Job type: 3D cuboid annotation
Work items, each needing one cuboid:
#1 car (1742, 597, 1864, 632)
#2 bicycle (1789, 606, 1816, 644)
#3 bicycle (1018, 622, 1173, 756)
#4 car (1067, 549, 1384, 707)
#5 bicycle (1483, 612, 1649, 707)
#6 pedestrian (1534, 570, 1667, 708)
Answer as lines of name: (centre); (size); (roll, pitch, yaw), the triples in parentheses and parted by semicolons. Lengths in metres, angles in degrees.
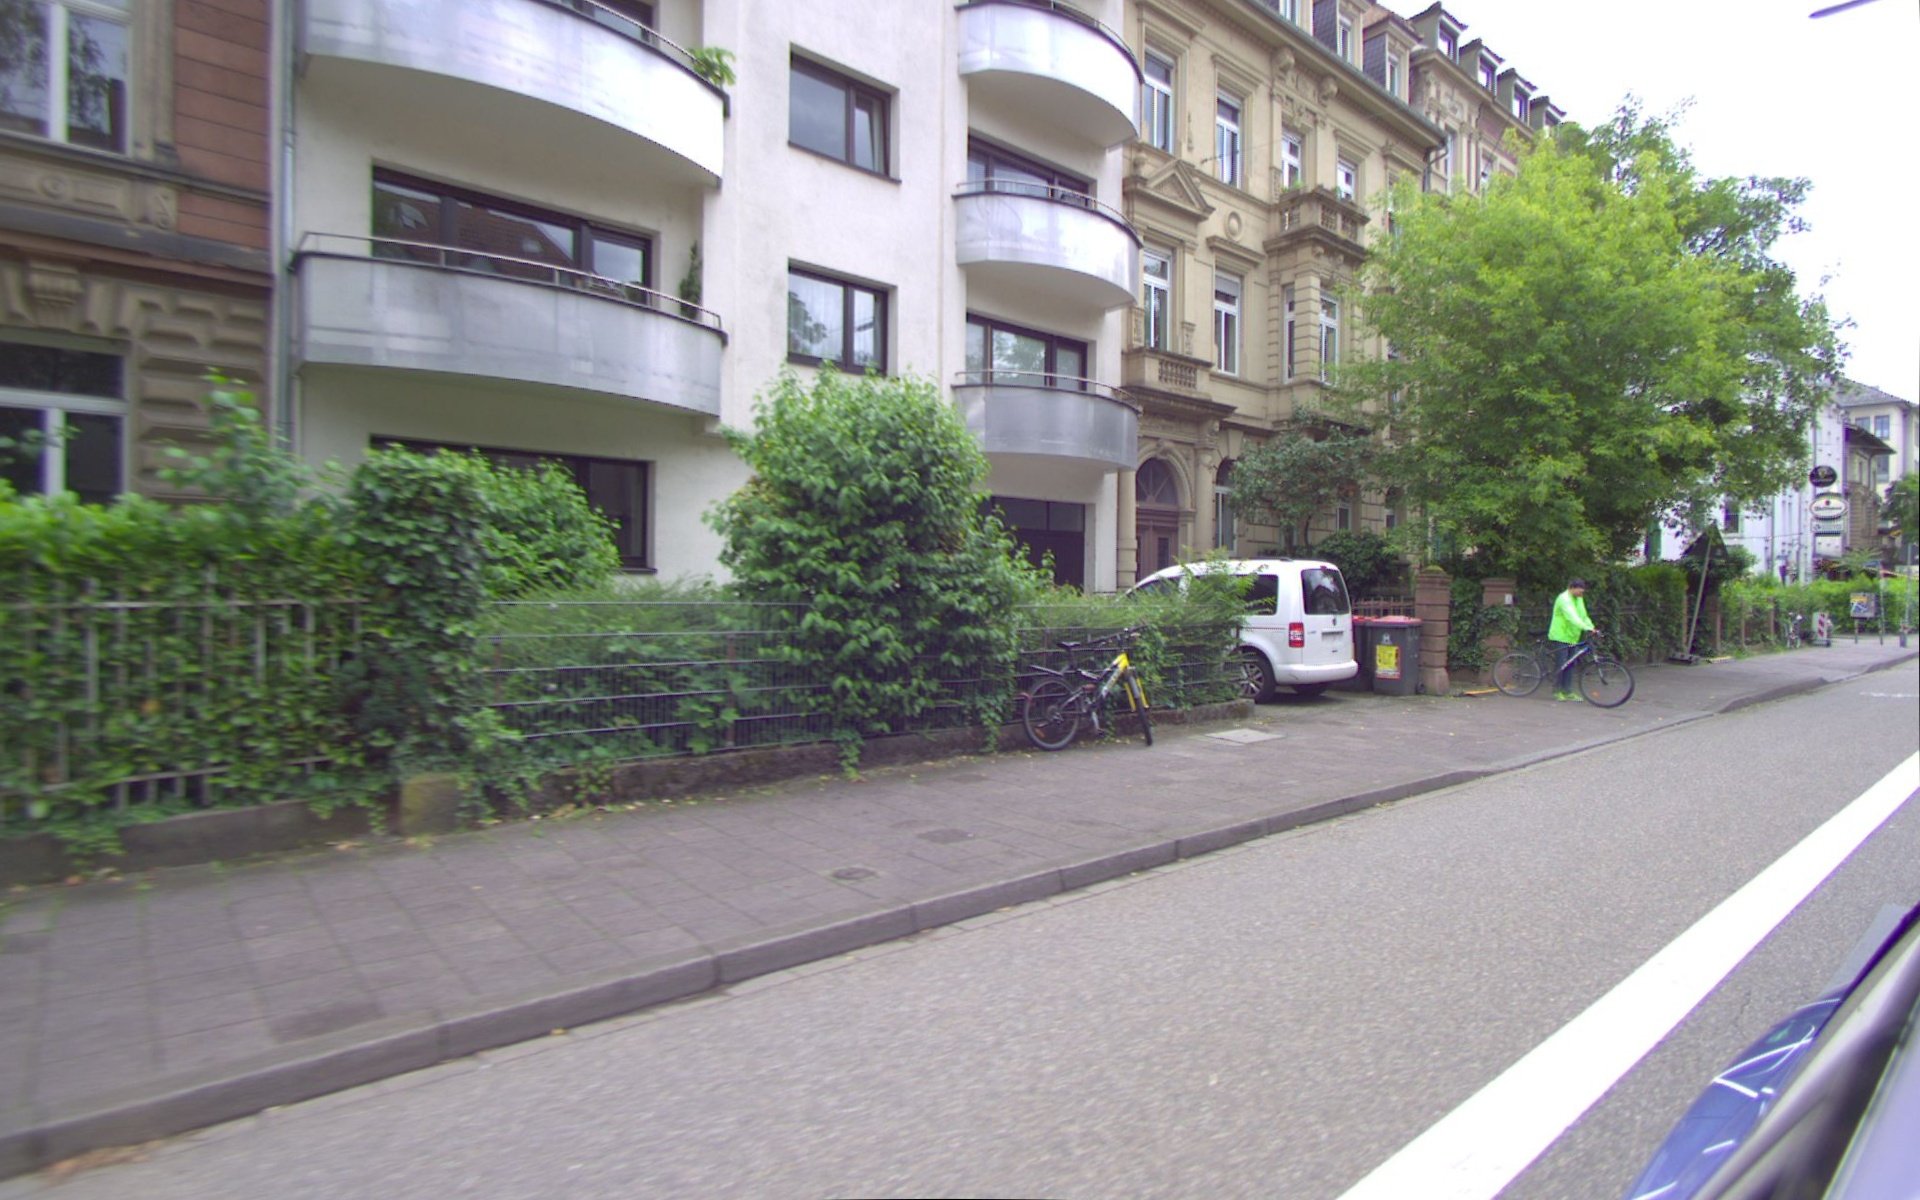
car: (37.117, 0.599, 44.679); (1.636, 1.449, 3.829); (1, 0, -18)
bicycle: (24.029, 0.692, 28.854); (1.816, 1.055, 0.302); (0, 0, -41)
bicycle: (1.226, 0.747, 8.979); (1.504, 1.058, 0.480); (0, 1, -40)
car: (3.560, 0.285, 14.143); (1.777, 1.881, 3.994); (0, 1, -40)
bicycle: (8.405, 0.793, 14.110); (0.596, 1.089, 1.845); (1, 4, -41)
pedestrian: (8.893, 0.497, 14.062); (1.000, 1.753, 1.231); (1, 3, -41)
